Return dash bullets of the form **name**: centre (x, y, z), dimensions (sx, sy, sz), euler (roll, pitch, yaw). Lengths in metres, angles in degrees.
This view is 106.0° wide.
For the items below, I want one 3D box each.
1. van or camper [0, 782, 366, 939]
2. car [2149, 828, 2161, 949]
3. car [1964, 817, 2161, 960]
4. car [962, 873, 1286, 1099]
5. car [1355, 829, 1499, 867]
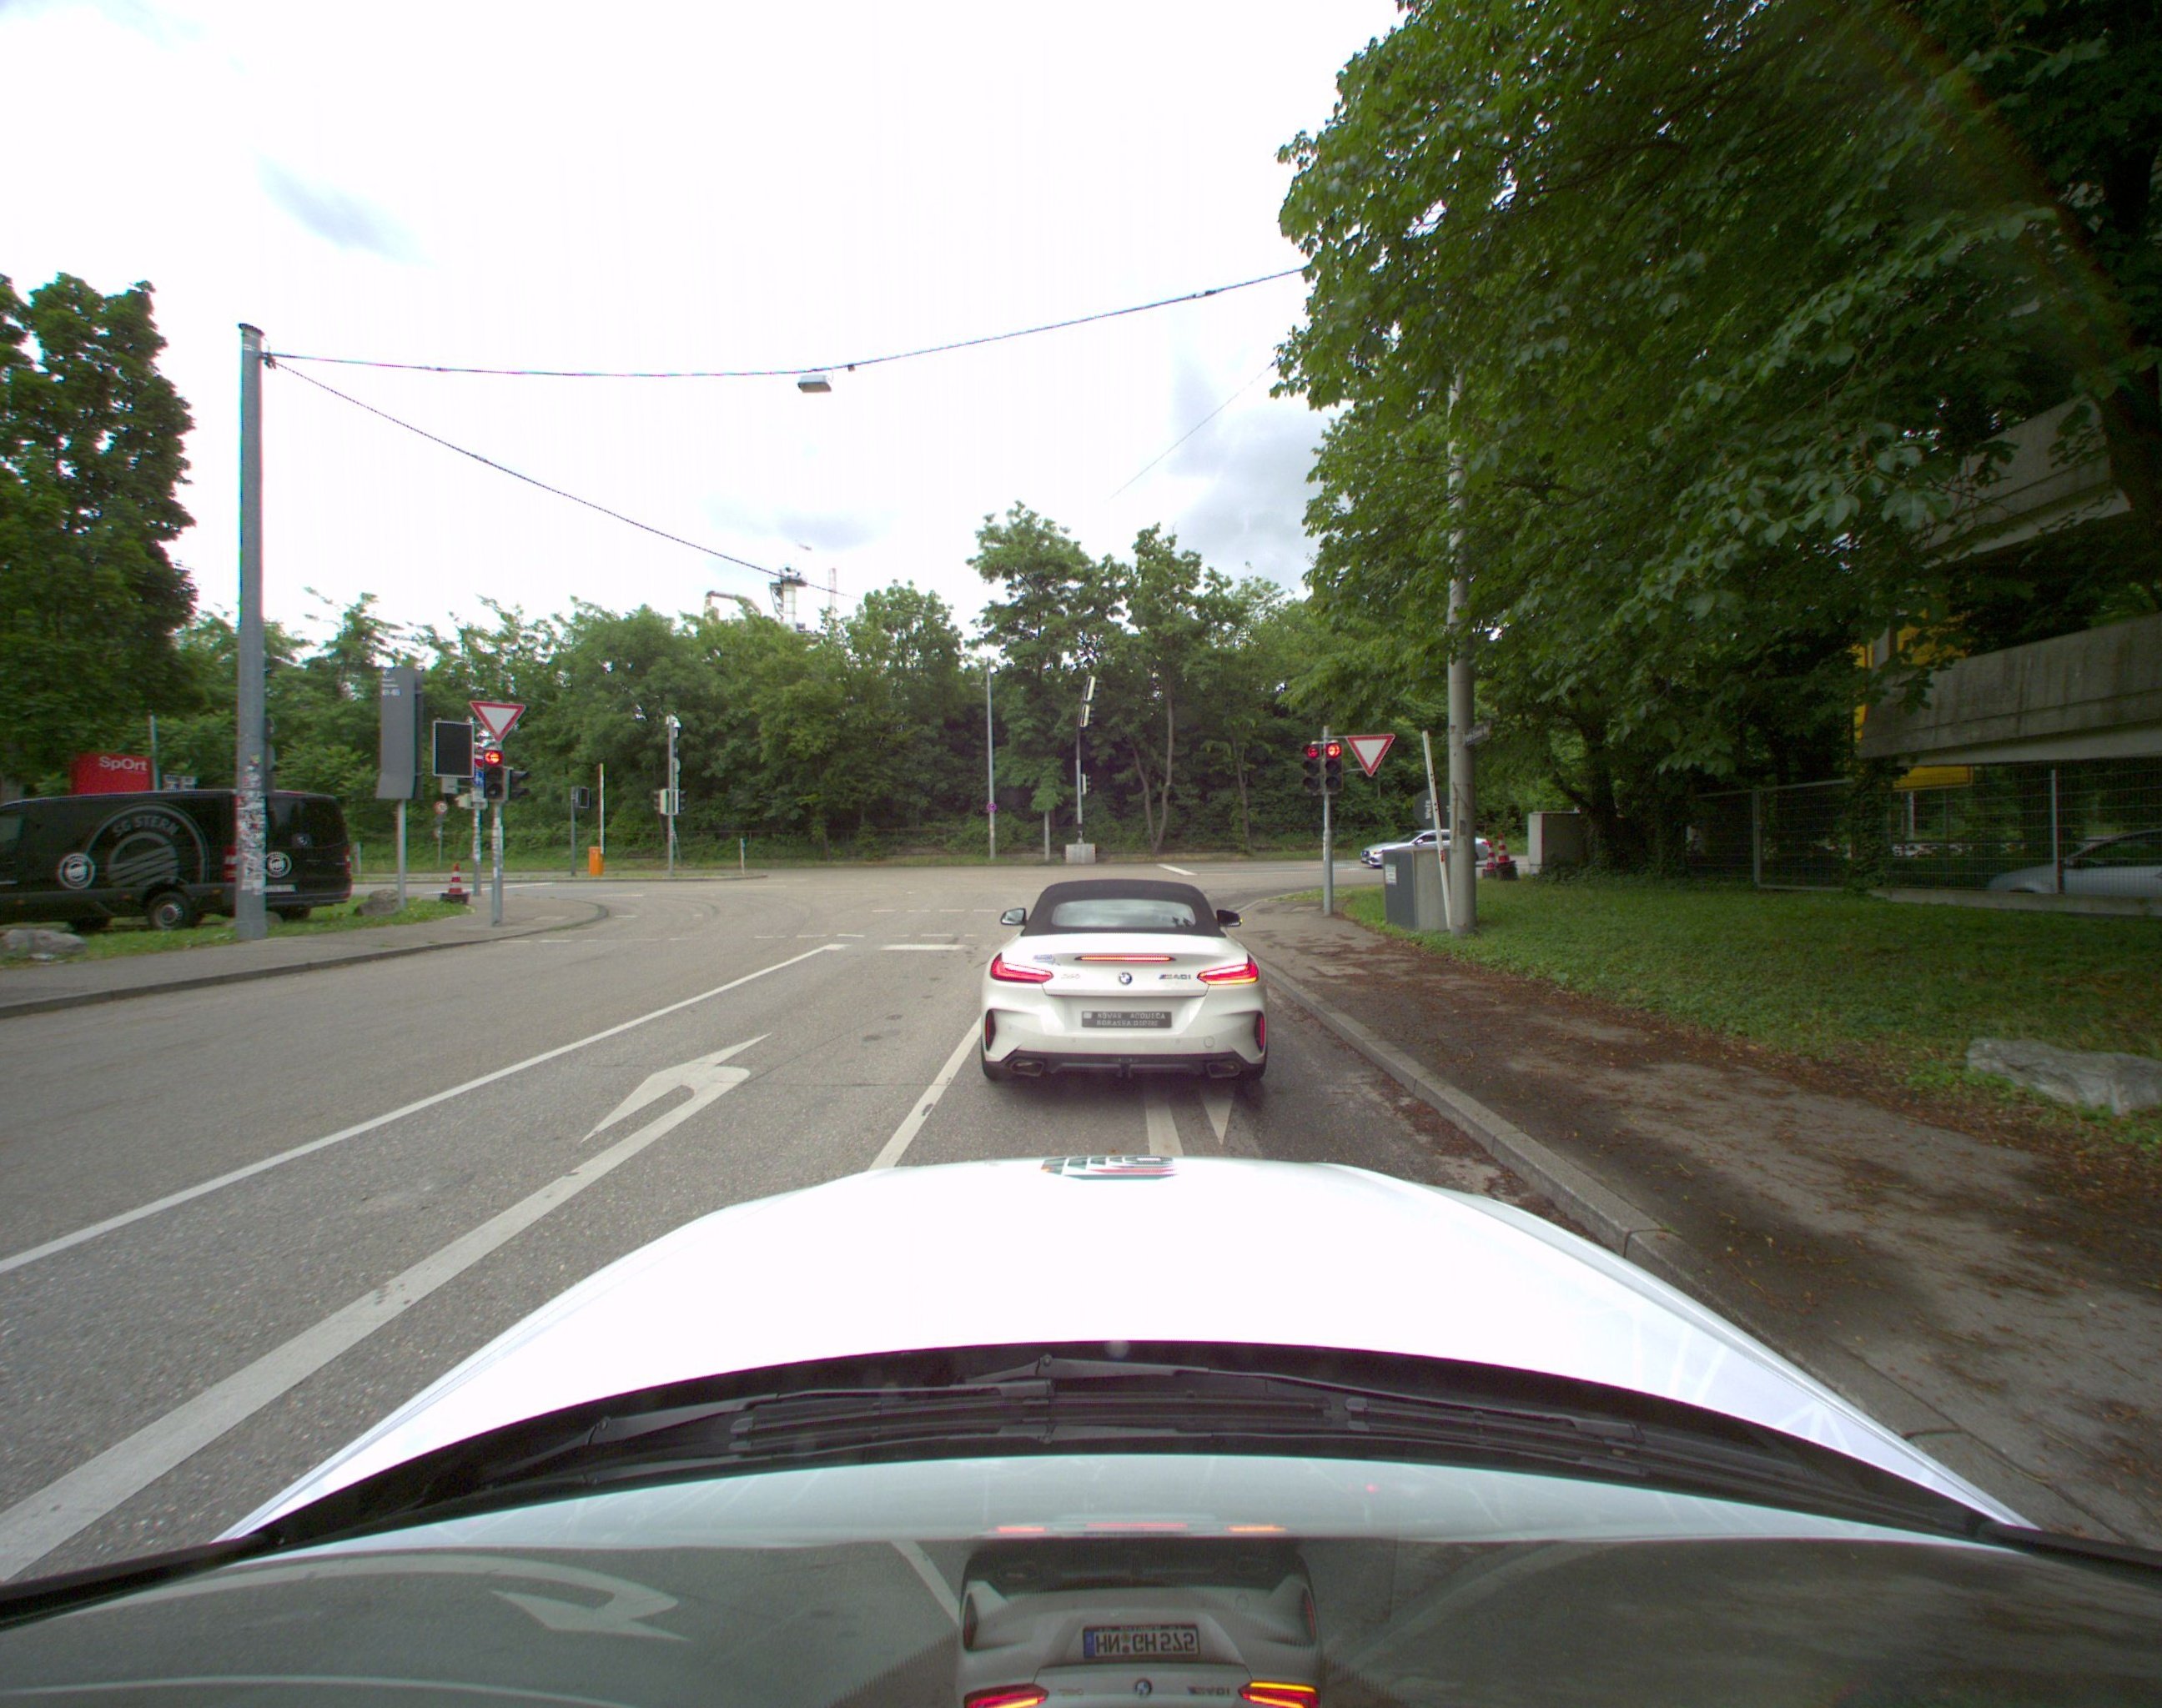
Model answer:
- **van or camper**: centre (-15.888, 0.161, 13.955), dimensions (5.513, 2.314, 2.063), euler (-2, -2, 2)
- **car**: centre (16.008, 0.452, 9.736), dimensions (1.574, 1.708, 3.770), euler (0, -1, 2)
- **car**: centre (13.615, 0.425, 10.044), dimensions (1.475, 1.708, 3.720), euler (0, -1, 2)
- **car**: centre (0.244, 0.790, 6.580), dimensions (1.822, 1.257, 3.998), euler (0, -1, 0)
- **car**: centre (13.092, -0.250, 31.053), dimensions (4.734, 1.333, 1.834), euler (-1, 2, 1)
